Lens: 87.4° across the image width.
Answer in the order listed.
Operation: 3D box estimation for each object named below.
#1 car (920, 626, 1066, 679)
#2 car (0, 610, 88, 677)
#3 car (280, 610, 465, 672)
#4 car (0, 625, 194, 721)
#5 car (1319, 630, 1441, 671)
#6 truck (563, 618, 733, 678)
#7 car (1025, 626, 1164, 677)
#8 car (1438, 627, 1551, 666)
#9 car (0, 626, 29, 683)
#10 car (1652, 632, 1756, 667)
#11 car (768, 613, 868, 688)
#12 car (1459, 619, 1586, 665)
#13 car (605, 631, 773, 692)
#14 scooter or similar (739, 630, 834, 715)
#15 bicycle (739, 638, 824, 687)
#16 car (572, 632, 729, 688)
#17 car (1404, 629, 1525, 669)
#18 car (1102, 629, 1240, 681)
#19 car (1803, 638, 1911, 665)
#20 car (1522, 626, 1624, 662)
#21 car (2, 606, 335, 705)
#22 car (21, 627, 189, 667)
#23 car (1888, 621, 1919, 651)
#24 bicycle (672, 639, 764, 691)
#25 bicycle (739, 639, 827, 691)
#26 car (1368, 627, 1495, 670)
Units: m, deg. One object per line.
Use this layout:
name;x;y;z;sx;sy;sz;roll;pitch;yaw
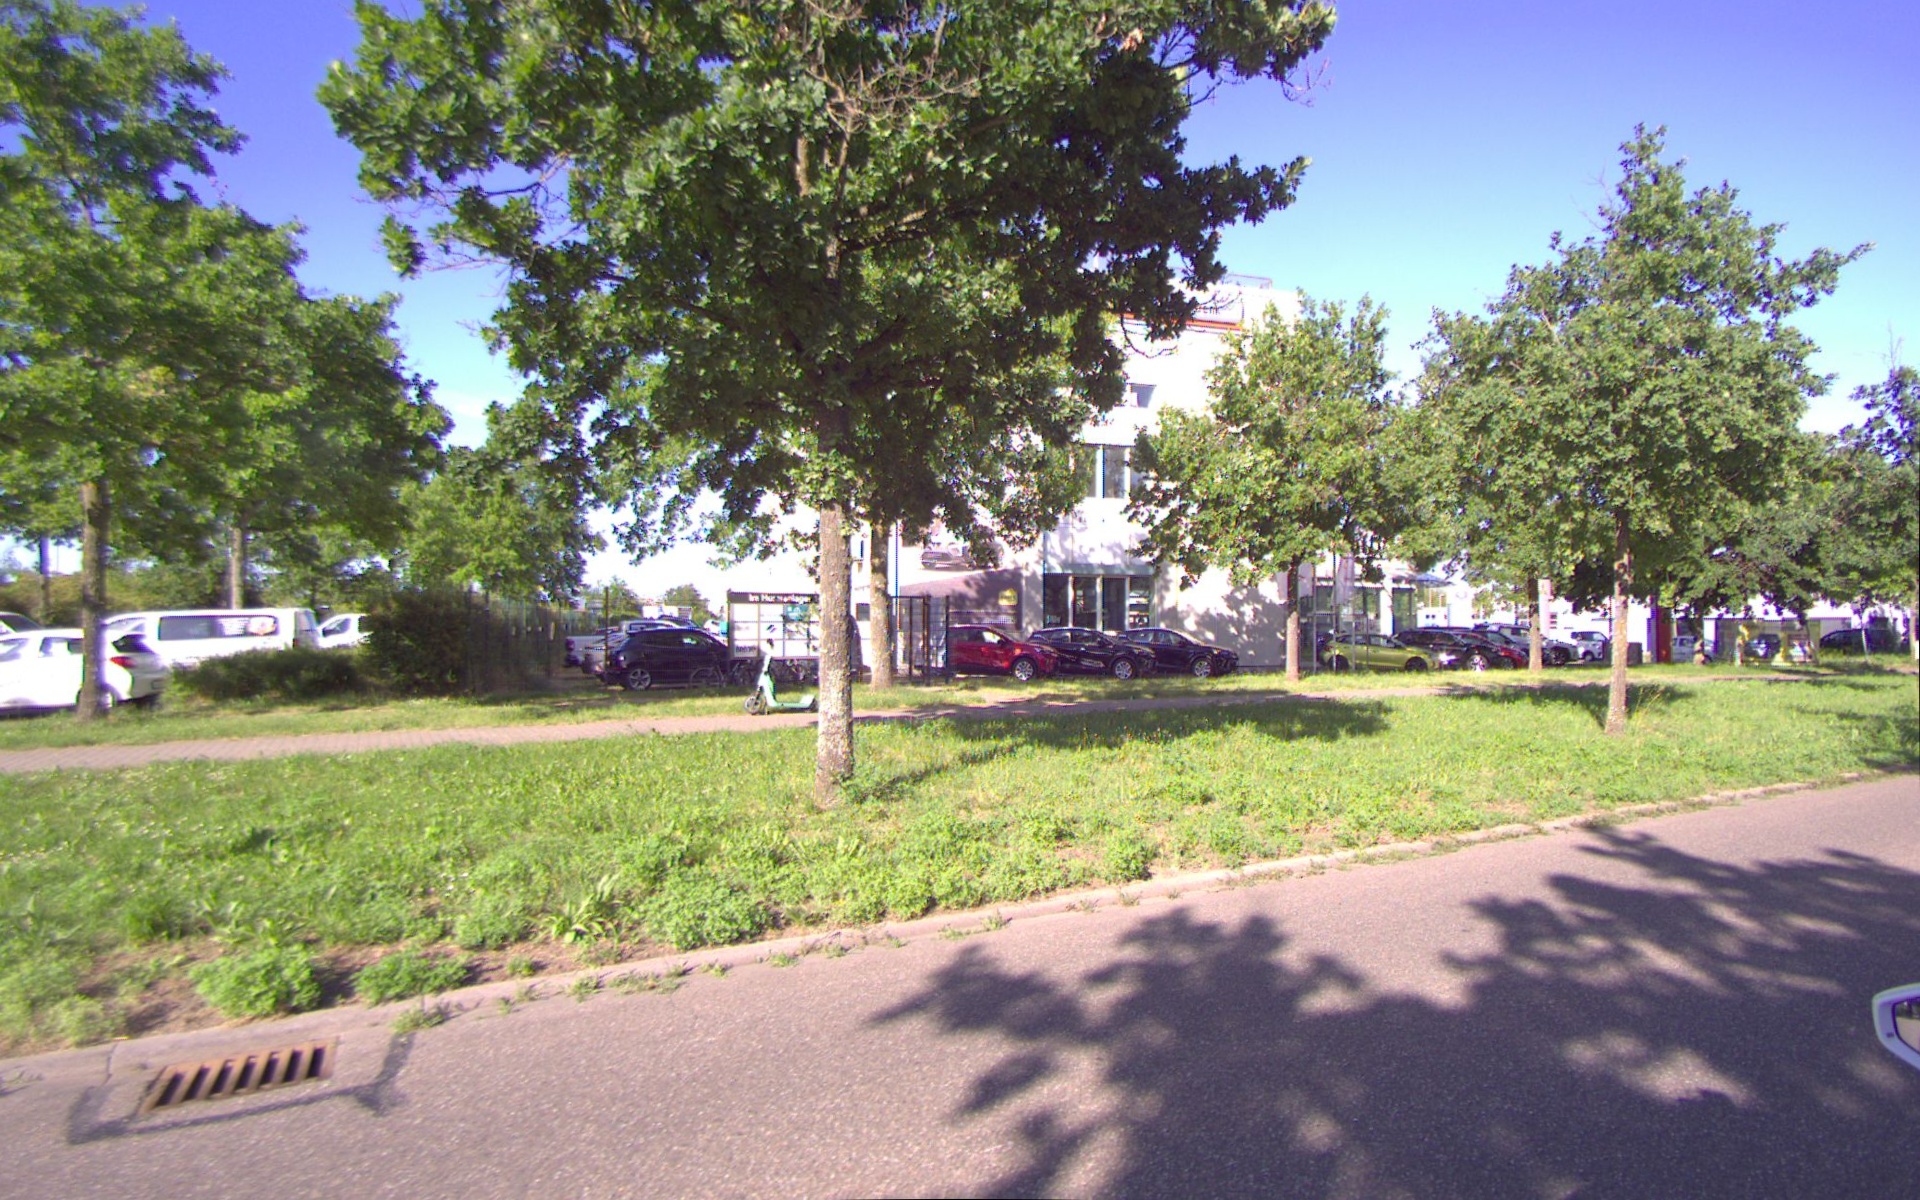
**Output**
car;0.975;1.471;28.695;3.919;1.467;1.802;0;-2;13
car;-30.747;1.341;31.420;4.800;2.040;1.995;1;-2;-14
car;-21.490;1.467;37.052;5.432;1.954;2.361;-2;-1;-19
car;-16.213;1.273;17.664;3.855;1.524;1.992;-2;-1;-18
car;14.904;1.772;35.888;3.875;1.420;2.000;-1;-2;19
truck;-10.291;1.558;33.198;5.116;1.866;2.019;1;-2;-27
car;4.094;1.541;30.492;3.920;1.467;1.802;-1;-2;18
car;22.406;1.913;42.194;4.095;1.582;1.997;-1;-2;29
car;-29.660;1.549;28.733;3.944;1.633;1.990;1;-2;-23
car;36.478;2.379;49.374;1.931;1.639;3.743;1;-2;-15
car;-3.944;1.302;27.288;1.994;1.807;4.014;1;0;-18
car;25.753;1.921;46.162;4.762;2.040;2.000;-1;-2;19
car;-7.032;1.553;26.127;3.948;1.467;1.789;1;-2;-27
scooter or similar;-2.735;1.131;15.879;1.423;1.296;0.393;1;-2;-29
bicycle;-4.189;1.461;23.591;1.869;1.102;0.636;1;-2;-31
car;-8.596;1.631;27.957;3.948;1.467;1.789;1;-2;-27
car;19.914;1.915;39.849;4.089;1.510;2.000;-1;-2;22
car;6.723;1.700;32.048;3.930;1.531;1.797;-1;-1;32
car;53.845;3.057;60.397;1.915;1.499;4.488;1;-2;-25
car;34.299;2.452;56.355;1.908;1.931;5.014;0;-2;-13
car;-17.465;1.179;22.575;5.355;1.840;2.299;-2;-1;-19
car;-34.830;1.905;41.075;4.800;1.590;1.995;1;-2;-14
car;66.375;2.489;69.351;5.745;2.015;2.024;1;-2;-33
bicycle;-5.319;1.412;22.138;1.869;1.102;0.636;1;-2;-31
bicycle;-3.970;1.440;22.570;1.869;1.102;0.636;1;-2;-31
car;17.559;1.787;37.629;4.087;1.558;1.897;-1;-2;19
